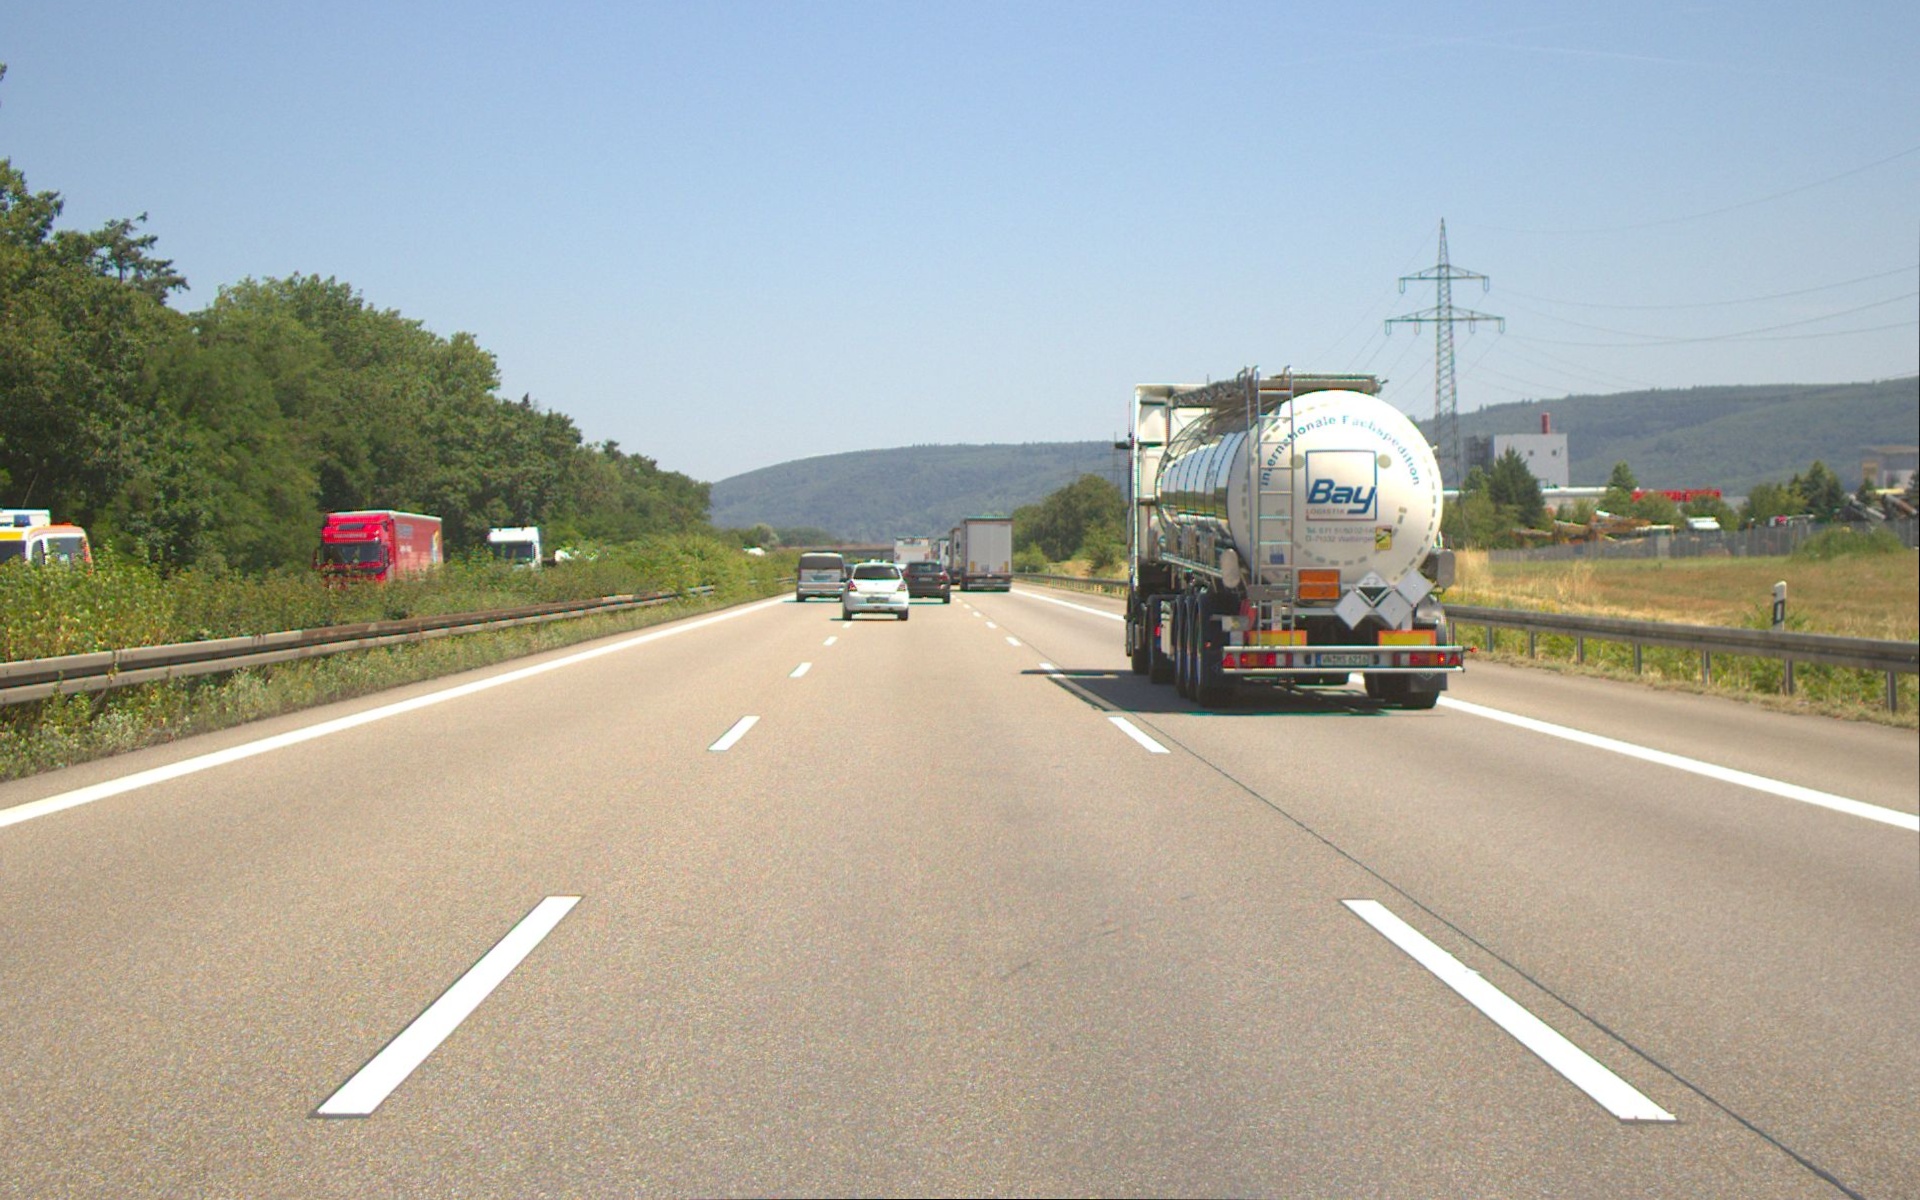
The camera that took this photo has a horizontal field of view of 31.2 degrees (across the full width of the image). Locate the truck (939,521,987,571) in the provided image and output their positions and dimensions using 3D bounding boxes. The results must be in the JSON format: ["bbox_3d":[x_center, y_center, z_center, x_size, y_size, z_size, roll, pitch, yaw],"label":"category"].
[{"bbox_3d":[0.182,-3.876,246.780,3.097,3.463,11.543,1,1,-1],"label":"truck"}]

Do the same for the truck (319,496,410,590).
[{"bbox_3d":[-22.360,-2.142,129.347,2.598,3.410,5.117,1,1,-1],"label":"truck"}]

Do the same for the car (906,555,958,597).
[{"bbox_3d":[-1.046,-0.906,129.146,1.885,1.510,4.000,1,1,-1],"label":"car"}]

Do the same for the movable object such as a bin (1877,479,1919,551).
[{"bbox_3d":[53.146,-4.584,179.416,9.716,3.677,2.679,-2,0,-1],"label":"movable object such as a bin"}]

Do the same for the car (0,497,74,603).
[{"bbox_3d":[-17.221,-0.895,59.577,2.302,1.774,5.424,1,1,0],"label":"car"}]

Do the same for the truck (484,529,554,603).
[{"bbox_3d":[-22.534,-1.754,175.842,2.591,3.693,6.827,1,1,1],"label":"truck"}]

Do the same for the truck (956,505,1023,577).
[{"bbox_3d":[1.577,-3.257,190.286,3.265,3.844,11.632,1,1,-1],"label":"truck"}]

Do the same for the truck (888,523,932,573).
[{"bbox_3d":[-3.662,-3.787,250.184,3.097,3.463,11.543,1,1,-1],"label":"truck"}]

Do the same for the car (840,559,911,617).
[{"bbox_3d":[-2.236,-0.329,91.340,1.806,1.463,4.000,1,1,-1],"label":"car"}]

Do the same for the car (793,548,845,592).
[{"bbox_3d":[-5.429,-1.157,132.691,1.852,1.627,4.000,1,1,-1],"label":"car"}]

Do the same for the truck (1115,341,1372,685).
[{"bbox_3d":[3.523,-1.089,44.186,2.573,4.058,6.393,1,1,-1],"label":"truck"}]

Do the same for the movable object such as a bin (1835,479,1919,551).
[{"bbox_3d":[52.131,-4.629,183.216,10.253,3.677,2.394,-2,0,-1],"label":"movable object such as a bin"}]

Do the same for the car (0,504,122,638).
[{"bbox_3d":[-13.454,-0.448,48.687,2.092,1.774,5.462,1,1,-3],"label":"car"}]

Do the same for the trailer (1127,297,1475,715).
[{"bbox_3d":[3.624,-1.014,39.358,2.580,4.060,11.104,1,1,-1],"label":"trailer"}]
